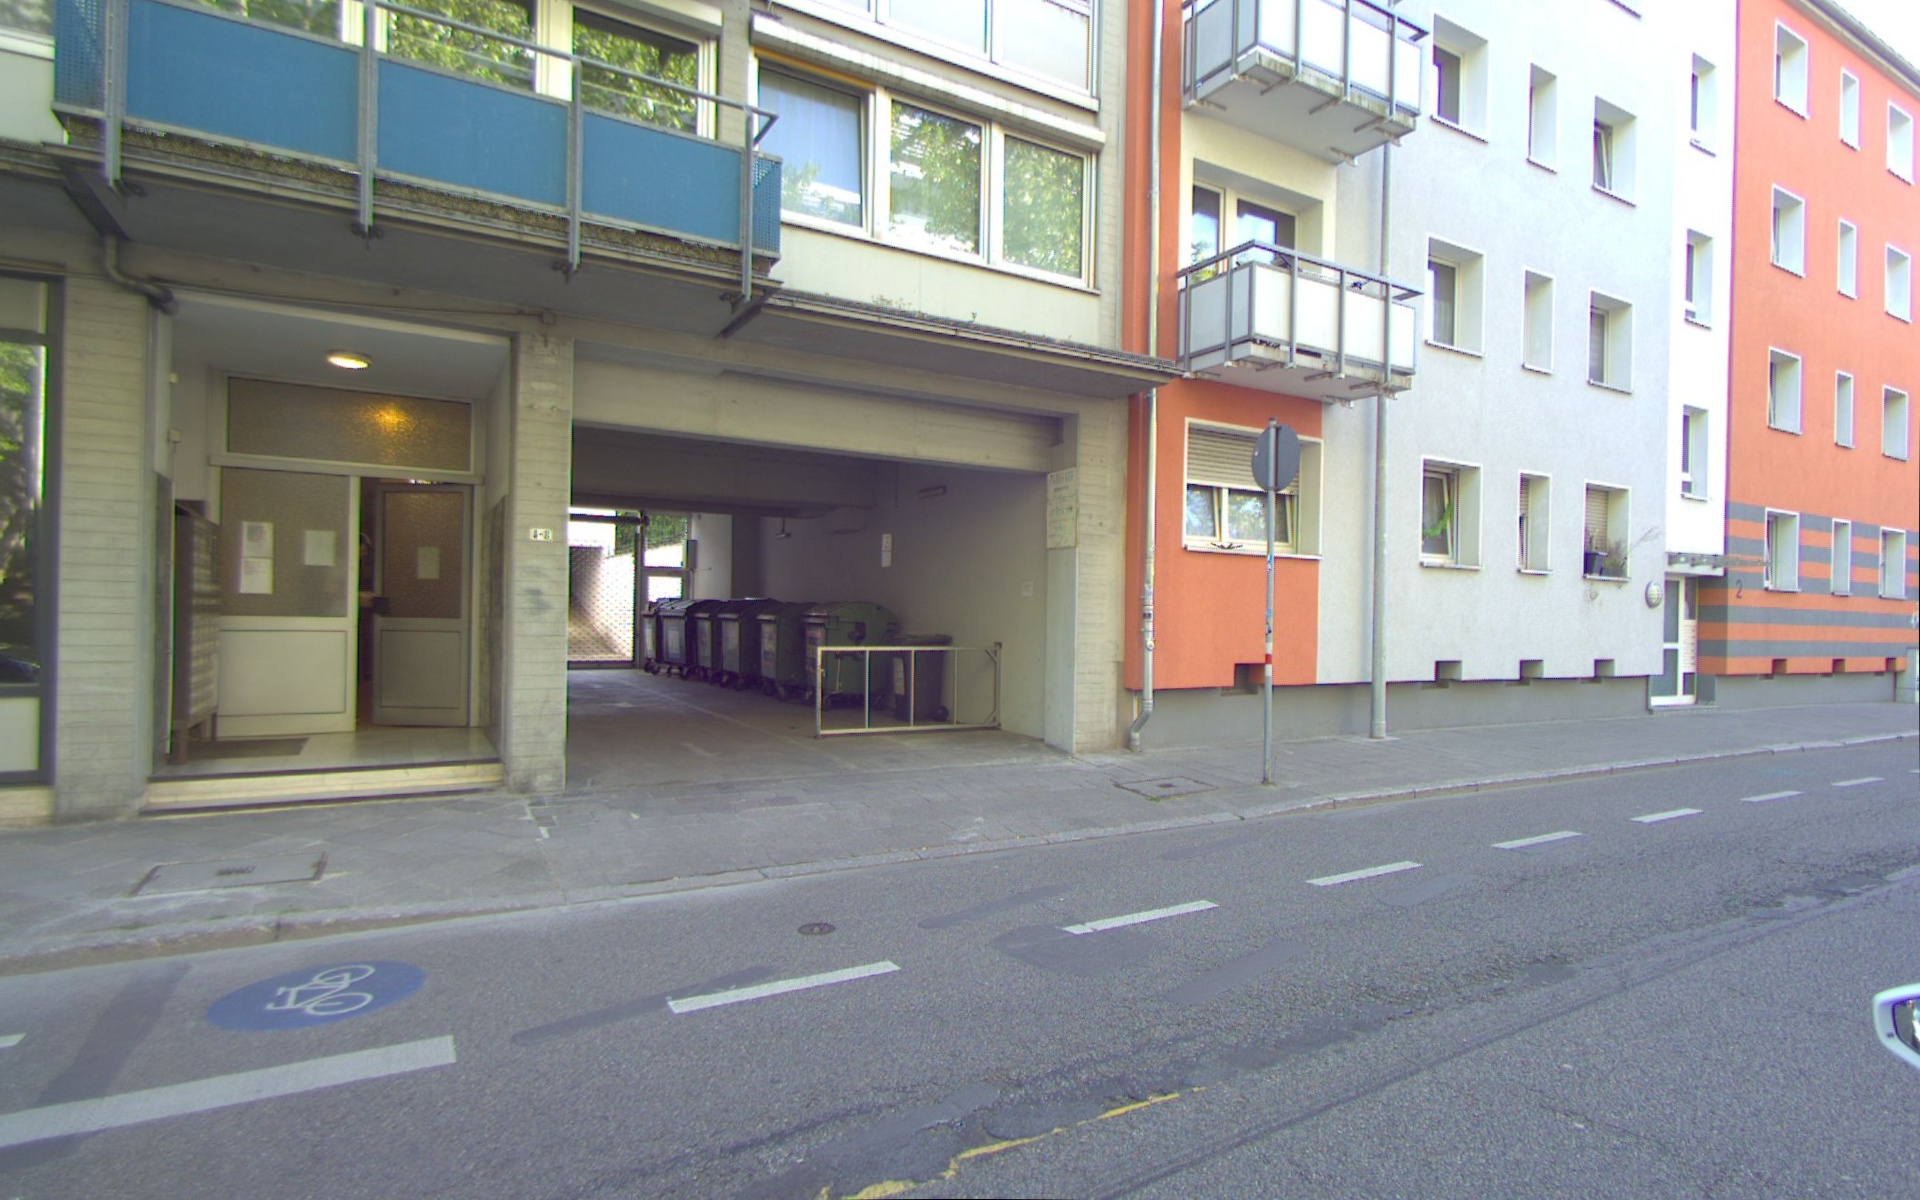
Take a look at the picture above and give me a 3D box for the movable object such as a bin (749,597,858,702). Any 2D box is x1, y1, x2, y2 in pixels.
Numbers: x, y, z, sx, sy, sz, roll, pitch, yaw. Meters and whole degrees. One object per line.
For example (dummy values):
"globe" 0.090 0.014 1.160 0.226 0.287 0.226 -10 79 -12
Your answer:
"movable object such as a bin" -2.379 0.732 15.170 1.264 1.493 1.265 2 -1 -28

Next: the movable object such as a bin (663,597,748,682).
"movable object such as a bin" -4.744 0.718 18.697 1.264 1.506 1.155 2 0 -28

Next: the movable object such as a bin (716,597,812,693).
"movable object such as a bin" -3.277 0.724 16.706 1.264 1.506 1.155 2 0 -28

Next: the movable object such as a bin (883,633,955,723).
"movable object such as a bin" -0.514 0.958 12.464 0.694 1.061 0.567 2 0 -28

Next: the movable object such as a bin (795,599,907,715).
"movable object such as a bin" -1.514 0.753 13.817 1.128 1.484 1.255 2 0 -28

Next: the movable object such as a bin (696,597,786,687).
"movable object such as a bin" -3.880 0.725 17.754 1.264 1.515 1.155 2 0 -28

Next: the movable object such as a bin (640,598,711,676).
"movable object such as a bin" -5.664 0.728 19.953 1.128 1.484 1.129 2 0 -28
